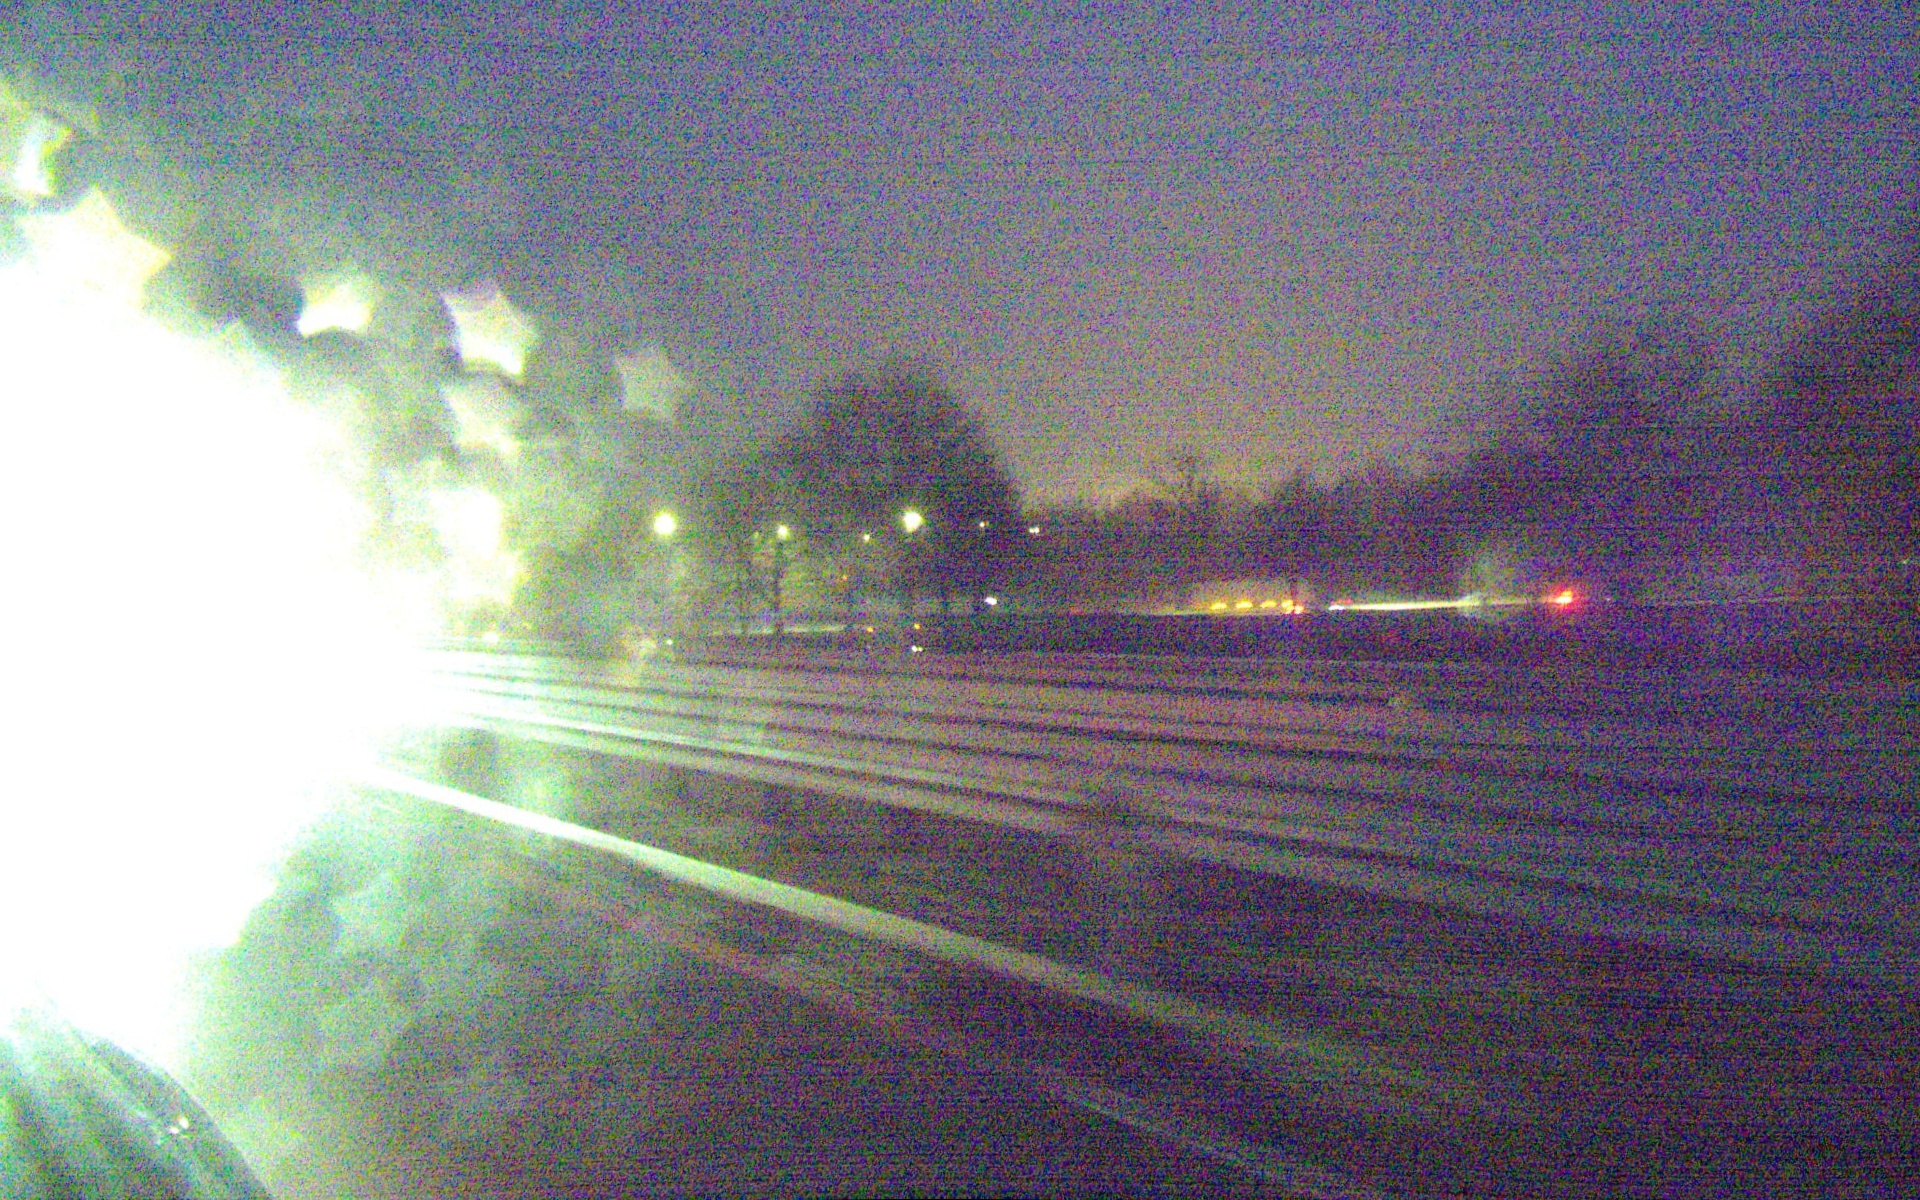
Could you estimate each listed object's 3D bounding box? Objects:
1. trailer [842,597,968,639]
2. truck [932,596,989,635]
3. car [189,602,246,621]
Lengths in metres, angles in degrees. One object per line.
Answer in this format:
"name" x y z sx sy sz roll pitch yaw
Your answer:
"trailer" -6.023 1.979 110.706 13.531 3.752 2.587 -3 1 16
"truck" 0.073 1.652 108.911 5.409 3.738 2.584 -3 1 16
"car" -71.174 1.118 97.056 1.709 1.451 3.967 -4 1 25
